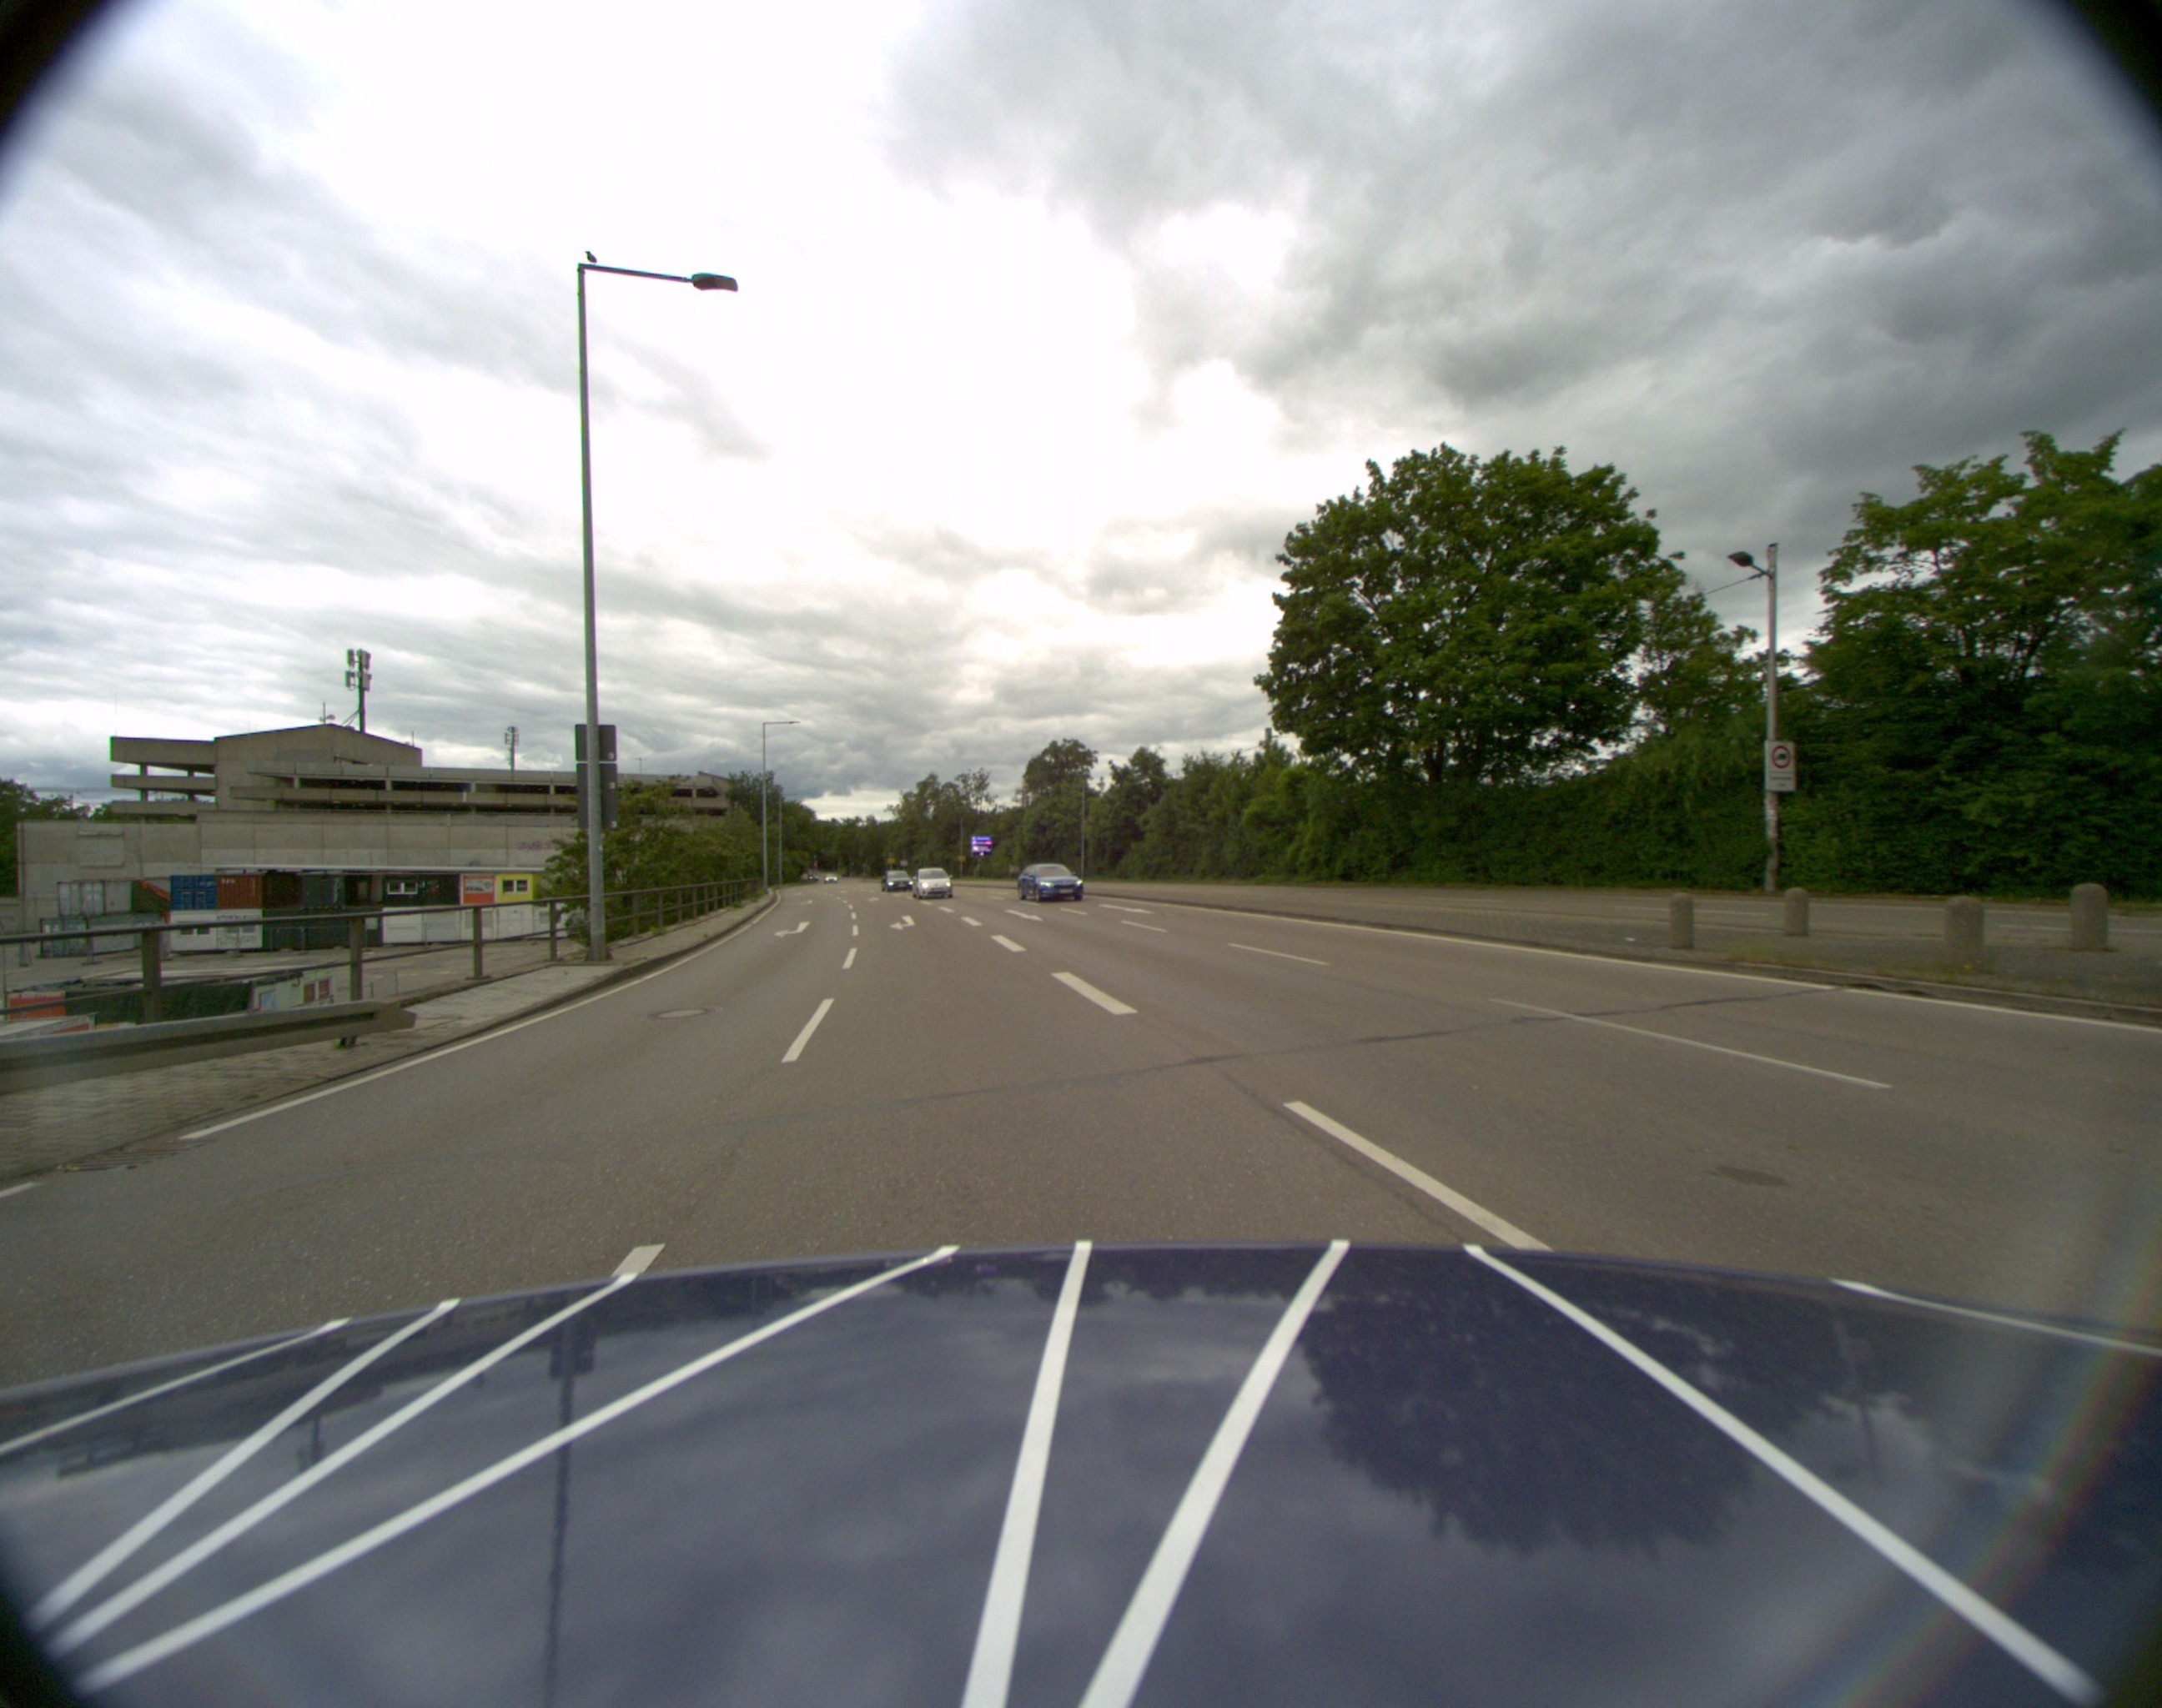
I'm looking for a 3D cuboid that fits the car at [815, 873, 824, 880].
[{"bbox_3d":[-58.699,5.028,170.466,1.867,1.408,4.332,-2,0,-20],"label":"car"}]

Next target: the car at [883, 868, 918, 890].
[{"bbox_3d":[-12.564,1.686,52.645,1.867,1.408,4.332,-2,0,-20],"label":"car"}]

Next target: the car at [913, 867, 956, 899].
[{"bbox_3d":[-7.201,1.378,37.197,1.611,1.408,3.586,-2,0,-17],"label":"car"}]

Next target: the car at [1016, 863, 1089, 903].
[{"bbox_3d":[-1.242,1.113,30.592,1.845,1.408,4.574,-2,0,-16],"label":"car"}]

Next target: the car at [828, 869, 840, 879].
[{"bbox_3d":[-40.256,3.237,123.770,1.867,1.408,4.332,-2,0,-19],"label":"car"}]
